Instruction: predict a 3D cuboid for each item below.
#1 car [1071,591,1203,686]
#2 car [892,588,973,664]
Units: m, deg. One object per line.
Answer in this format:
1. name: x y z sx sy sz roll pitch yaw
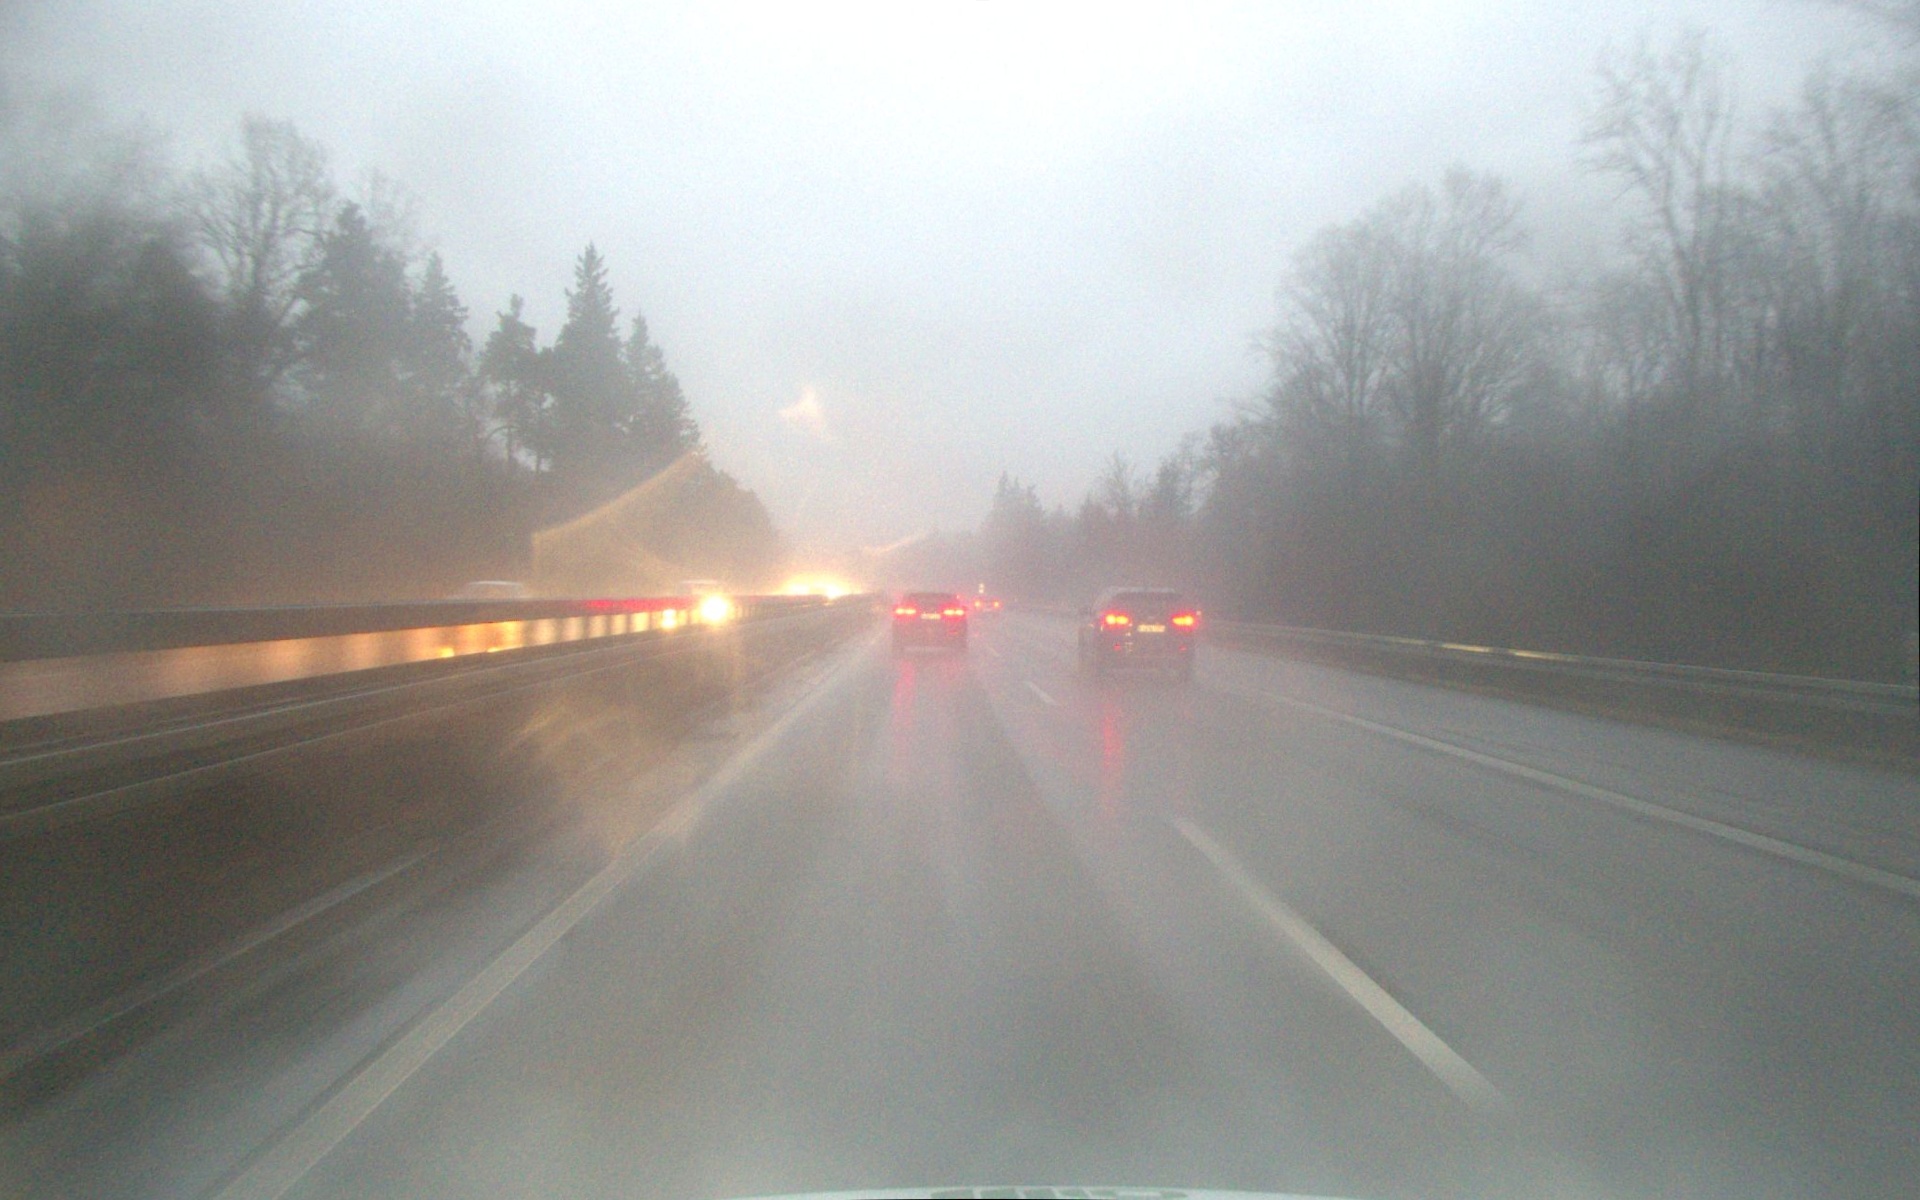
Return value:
1. car: 3.429 0.715 32.874 2.028 1.727 4.460 1 0 -2
2. car: -0.692 0.623 41.903 1.946 1.798 4.172 0 0 -1
